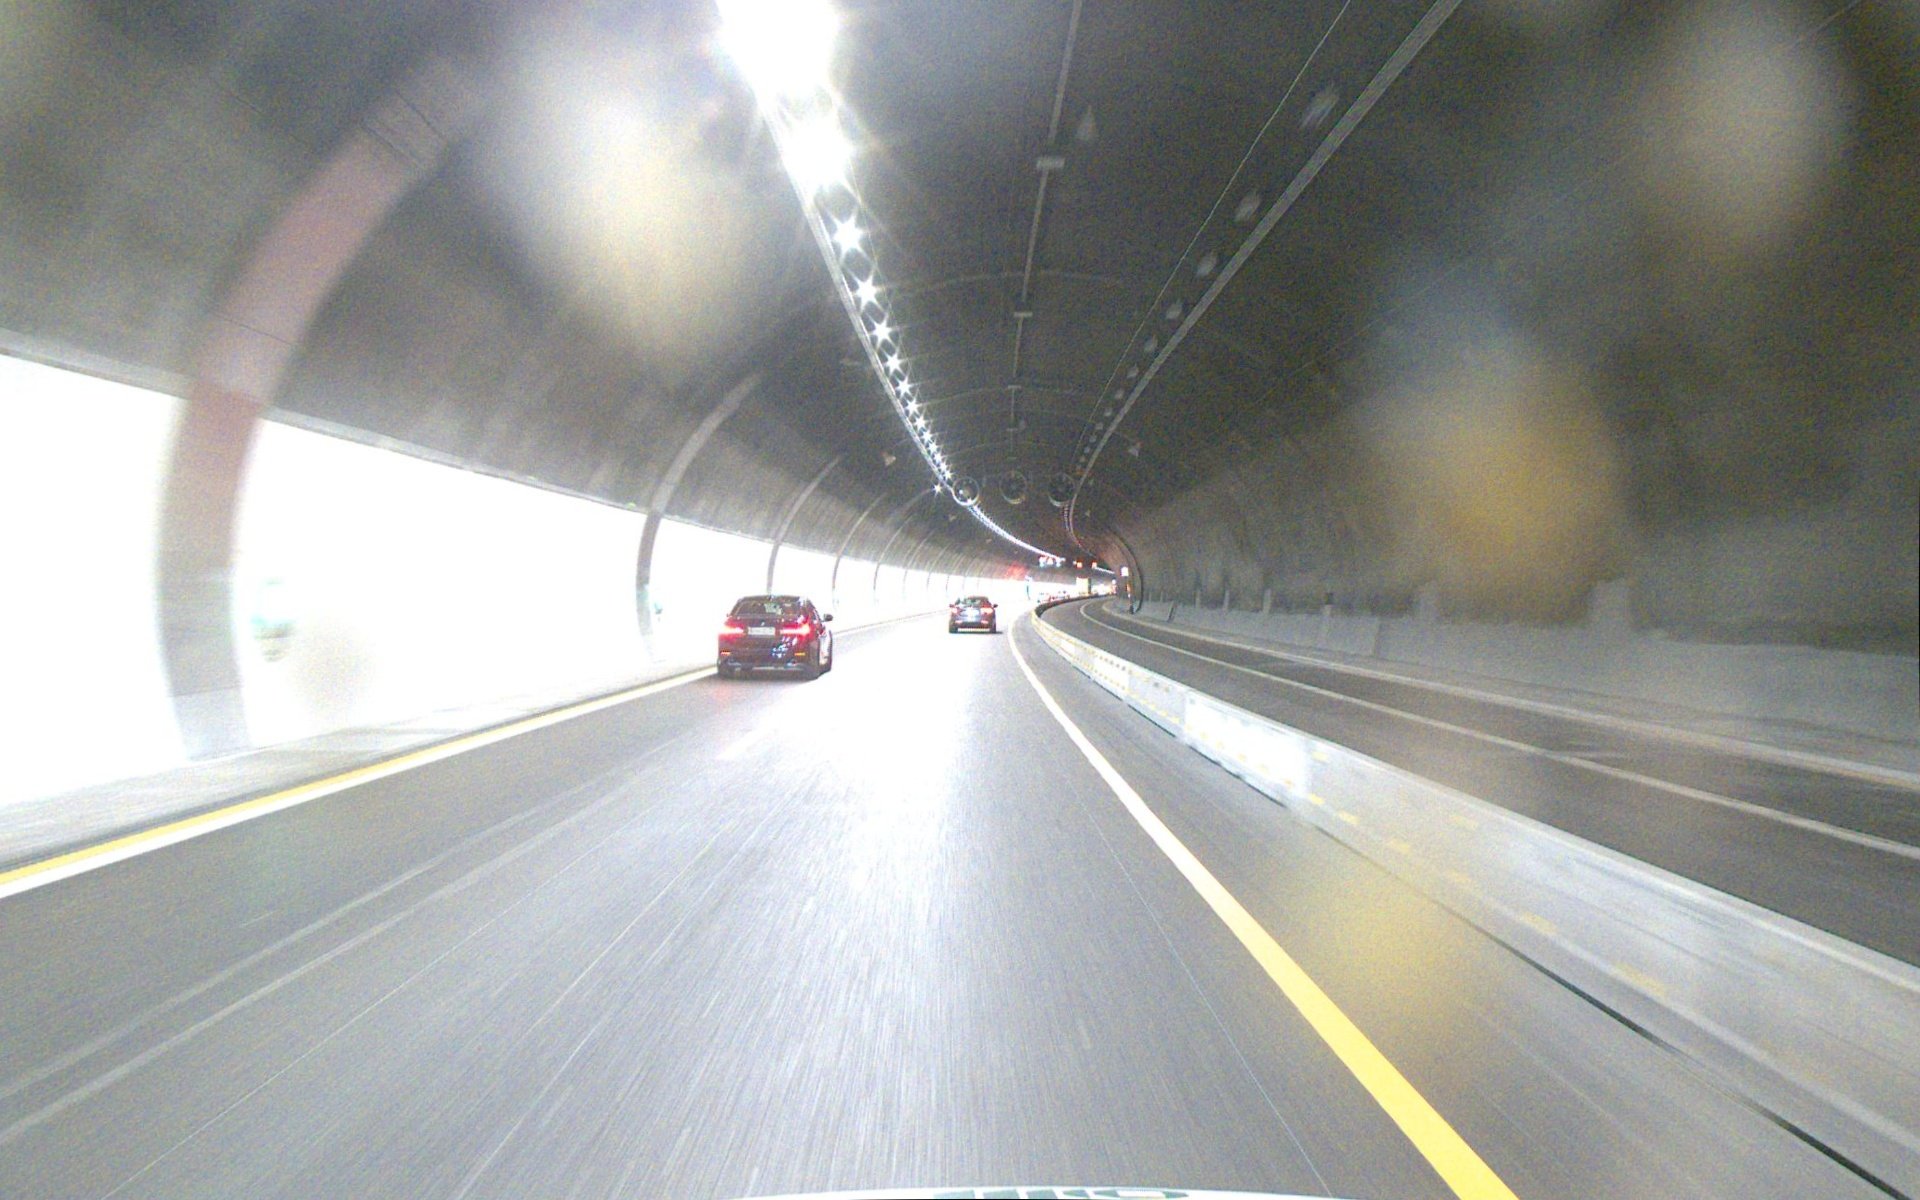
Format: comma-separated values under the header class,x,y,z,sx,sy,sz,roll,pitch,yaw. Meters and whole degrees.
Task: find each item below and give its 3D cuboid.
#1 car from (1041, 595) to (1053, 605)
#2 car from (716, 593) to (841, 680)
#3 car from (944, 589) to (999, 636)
class,x,y,z,sx,sy,sz,roll,pitch,yaw
car,11.706,-0.046,223.367,1.561,1.356,3.752,1,0,4
car,-3.272,0.612,30.702,1.741,1.463,4.882,1,0,0
car,0.470,0.463,65.032,2.097,1.735,4.000,1,0,1
